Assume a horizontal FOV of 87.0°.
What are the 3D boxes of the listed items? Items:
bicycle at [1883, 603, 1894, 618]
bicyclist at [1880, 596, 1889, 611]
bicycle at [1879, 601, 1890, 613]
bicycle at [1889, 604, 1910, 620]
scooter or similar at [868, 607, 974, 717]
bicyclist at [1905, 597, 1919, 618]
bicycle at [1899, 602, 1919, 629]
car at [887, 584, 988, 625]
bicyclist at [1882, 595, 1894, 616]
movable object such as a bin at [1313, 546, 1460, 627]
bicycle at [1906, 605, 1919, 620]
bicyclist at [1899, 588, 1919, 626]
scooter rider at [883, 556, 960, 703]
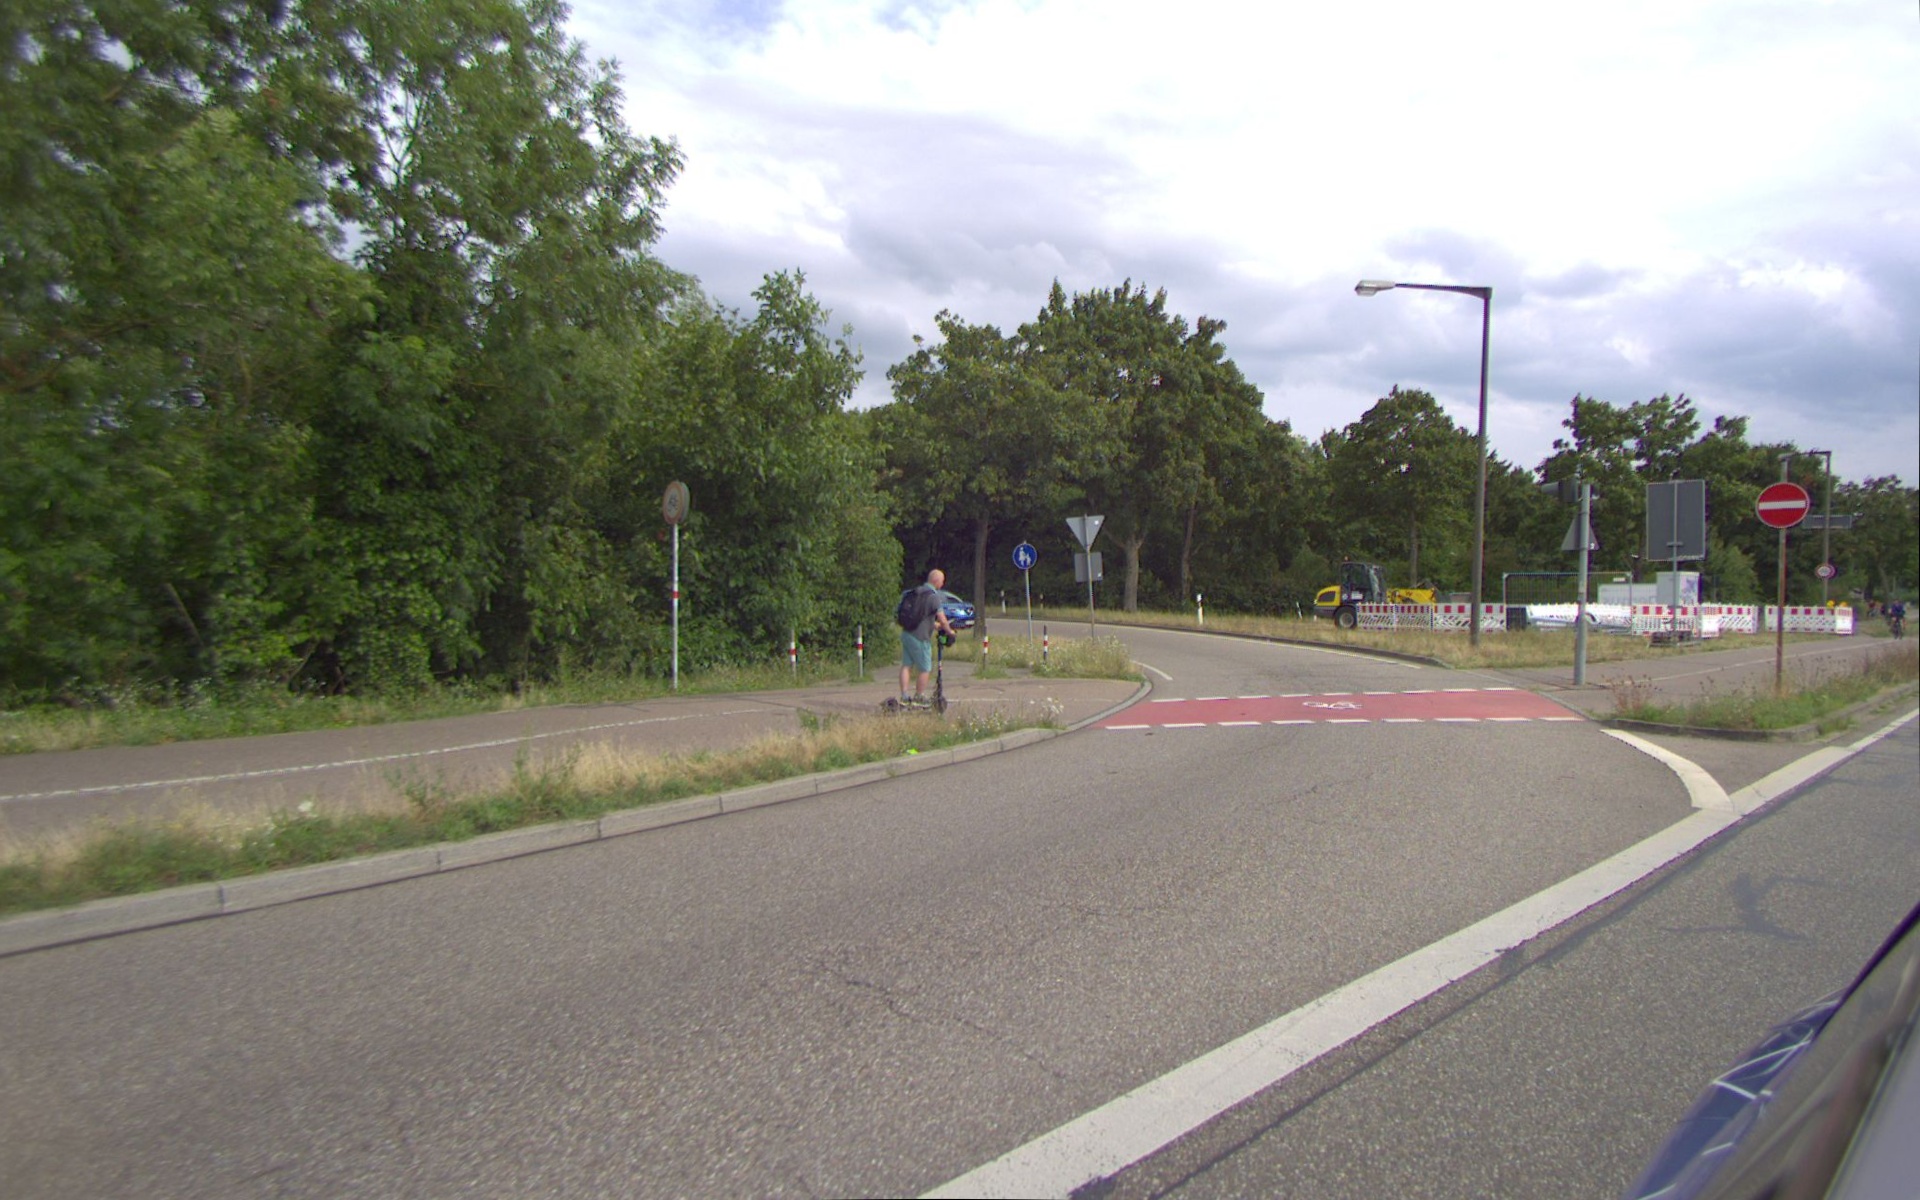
[{"bbox_3d":[73.491,0.810,80.114,2.195,1.162,0.514,-1,3,-44],"label":"bicycle"},{"bbox_3d":[79.959,0.294,87.512,0.442,1.298,0.539,-1,1,-44],"label":"bicyclist"},{"bbox_3d":[79.963,0.570,87.528,1.753,0.976,0.514,-1,3,-44],"label":"bicycle"},{"bbox_3d":[66.743,0.878,71.889,2.063,1.018,0.622,-2,5,-35],"label":"bicycle"},{"bbox_3d":[-0.460,0.724,12.303,1.181,1.240,0.589,-1,1,-41],"label":"scooter or similar"},{"bbox_3d":[70.374,0.531,74.758,0.943,1.537,0.741,-1,1,-44],"label":"bicyclist"},{"bbox_3d":[42.362,0.681,45.182,0.574,1.162,1.950,3,2,44],"label":"bicycle"},{"bbox_3d":[-0.952,0.141,40.611,1.849,1.536,3.989,-1,1,-44],"label":"car"},{"bbox_3d":[73.514,0.440,80.131,0.768,1.678,0.652,-1,1,-44],"label":"bicyclist"},{"bbox_3d":[15.407,-0.506,36.770,2.062,2.723,4.515,-1,1,-36],"label":"movable object such as a bin"},{"bbox_3d":[70.375,0.914,74.750,2.159,1.049,0.595,0,1,-45],"label":"bicycle"},{"bbox_3d":[42.399,0.314,45.195,0.652,1.678,0.862,0,1,44],"label":"bicyclist"},{"bbox_3d":[-0.468,0.334,12.293,0.730,1.711,0.588,-1,1,-40],"label":"scooter rider"}]
